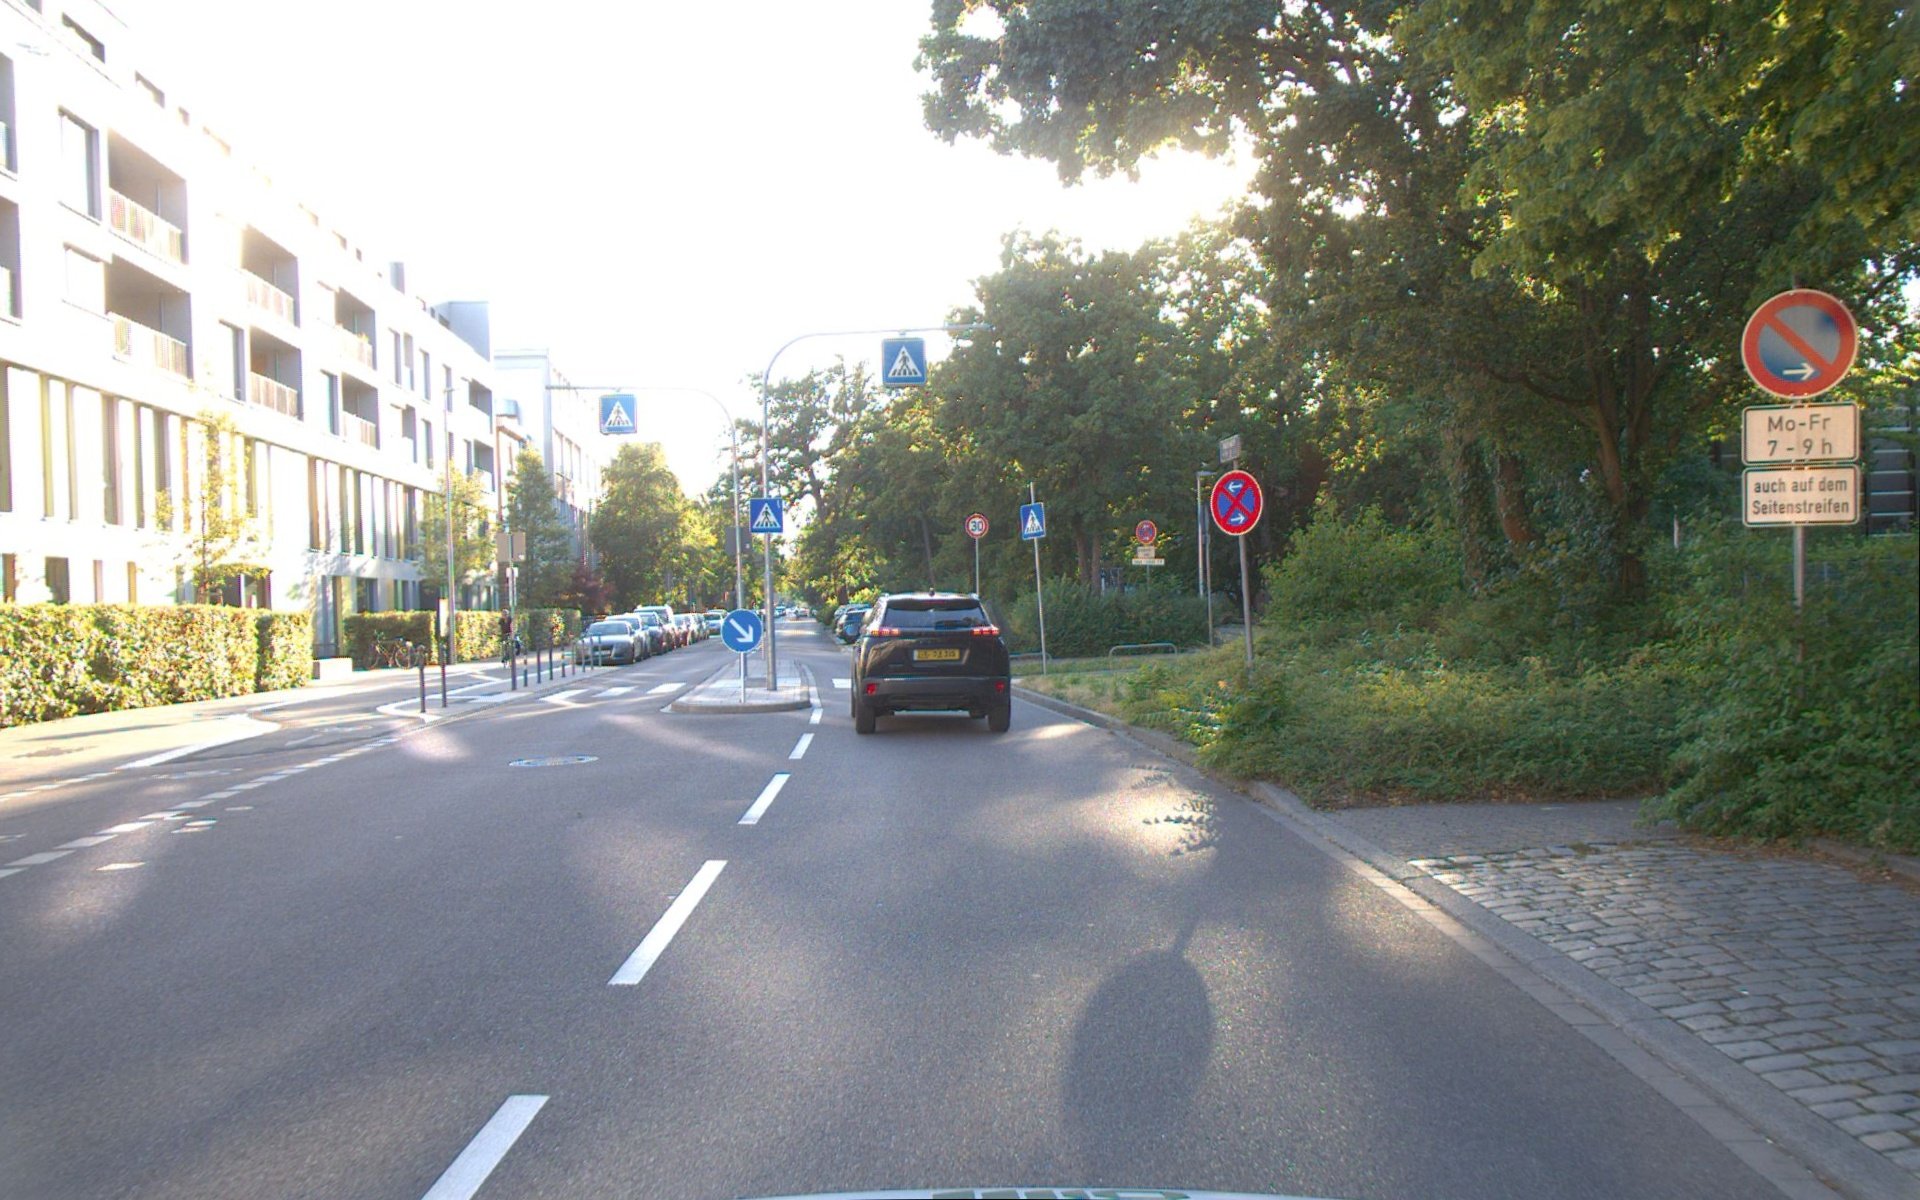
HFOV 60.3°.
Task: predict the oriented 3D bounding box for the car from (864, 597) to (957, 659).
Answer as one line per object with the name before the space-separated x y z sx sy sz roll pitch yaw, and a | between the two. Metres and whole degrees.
car | -1.623 0.882 52.227 1.890 1.779 4.648 -3 0 -14

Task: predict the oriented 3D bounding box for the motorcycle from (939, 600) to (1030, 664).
motorcycle | 0.651 0.824 43.472 2.243 1.572 1.040 -3 0 5

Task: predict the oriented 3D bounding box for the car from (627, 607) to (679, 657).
car | -12.945 1.340 70.030 1.773 1.922 4.232 -3 0 -7

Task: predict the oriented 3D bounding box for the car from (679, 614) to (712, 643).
car | -15.150 1.606 94.842 1.570 1.519 3.768 -3 0 -5

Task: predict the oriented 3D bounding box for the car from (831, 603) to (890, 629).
car | -7.045 1.119 117.572 4.086 1.740 1.866 -1 0 -2

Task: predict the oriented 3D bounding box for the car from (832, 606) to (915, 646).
car | -4.011 1.186 76.144 3.598 1.469 1.732 -5 0 -8

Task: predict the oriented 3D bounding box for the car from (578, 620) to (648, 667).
car | -11.259 1.377 53.936 1.708 1.380 4.391 -3 0 -6

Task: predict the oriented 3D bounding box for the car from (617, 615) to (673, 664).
car | -12.284 1.519 64.694 1.709 1.705 4.410 -3 0 -7

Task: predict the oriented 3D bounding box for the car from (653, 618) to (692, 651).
car | -13.835 1.637 79.693 1.568 1.480 3.856 -2 0 -7

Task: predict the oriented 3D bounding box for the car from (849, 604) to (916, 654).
car | -2.735 0.998 57.386 1.622 1.595 4.288 -3 0 -12

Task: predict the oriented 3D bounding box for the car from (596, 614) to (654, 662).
car | -11.930 1.336 59.099 1.709 1.560 4.108 -3 0 -8

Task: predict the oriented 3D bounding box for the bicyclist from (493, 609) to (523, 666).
bicyclist | -13.684 1.130 50.046 0.613 1.673 0.758 -2 0 1

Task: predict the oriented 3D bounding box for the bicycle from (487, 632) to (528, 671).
bicycle | -13.666 1.537 50.008 0.620 1.097 1.884 -2 0 2

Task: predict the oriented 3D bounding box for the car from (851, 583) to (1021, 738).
car | -0.363 0.651 19.371 1.733 1.596 3.377 -2 0 -5

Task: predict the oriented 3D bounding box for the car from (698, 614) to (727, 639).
car | -16.836 1.765 112.743 1.638 1.519 4.057 -3 0 -5

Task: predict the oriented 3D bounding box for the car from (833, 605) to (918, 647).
car | -3.774 1.149 73.780 3.543 1.551 1.669 -5 0 -8

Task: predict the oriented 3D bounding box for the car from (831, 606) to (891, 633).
car | -6.766 1.310 112.841 4.043 1.696 1.721 -2 0 -6

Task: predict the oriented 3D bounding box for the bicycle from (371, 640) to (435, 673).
bicycle | -16.748 1.688 49.765 1.718 0.934 0.616 -1 -1 -8

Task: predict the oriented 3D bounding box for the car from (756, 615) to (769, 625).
car | -29.952 3.025 250.964 1.777 1.378 3.991 -2 0 -9
